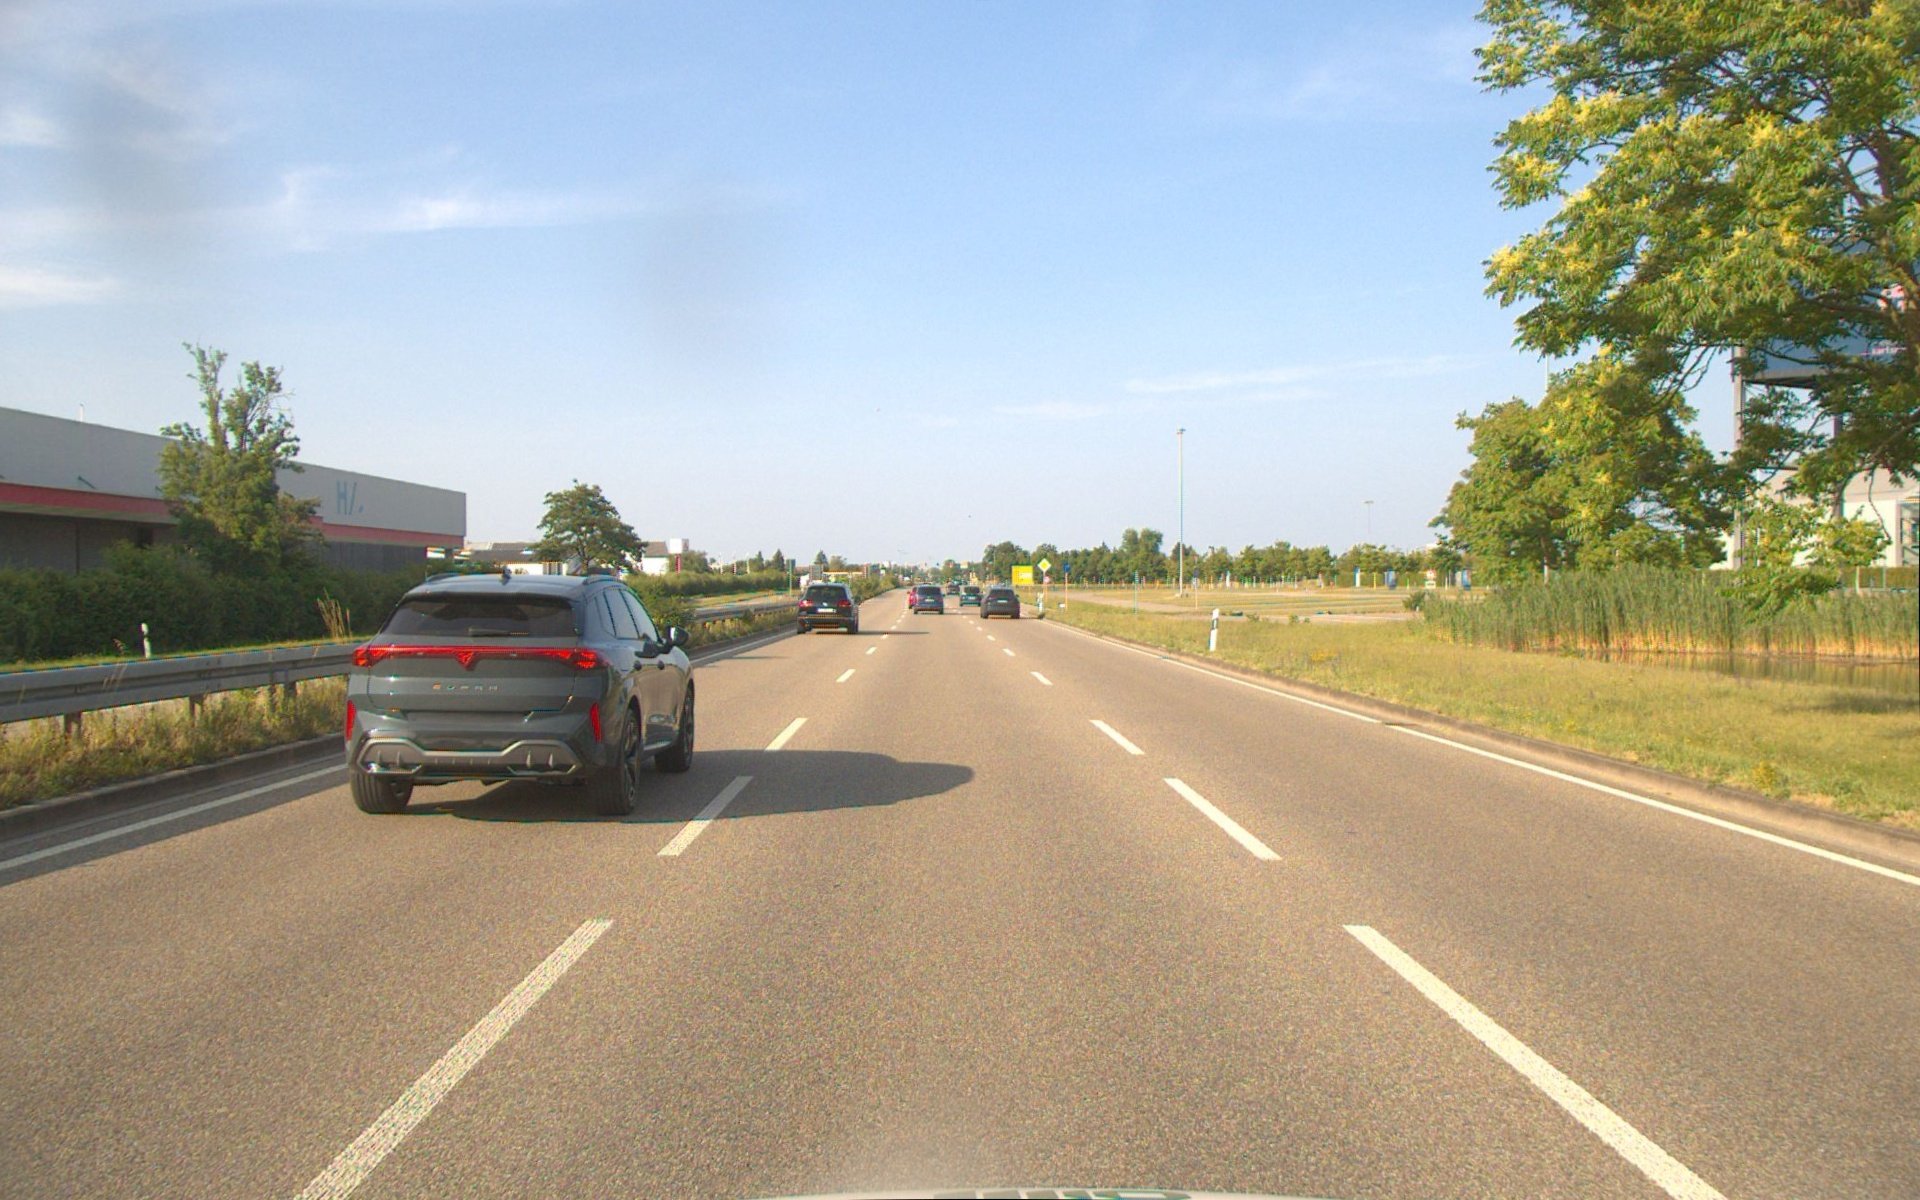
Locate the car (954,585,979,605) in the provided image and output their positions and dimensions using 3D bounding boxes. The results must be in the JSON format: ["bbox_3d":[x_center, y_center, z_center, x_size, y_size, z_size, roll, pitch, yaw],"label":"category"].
[{"bbox_3d":[0.505,-0.440,132.035,1.835,1.488,3.980,2,1,-1],"label":"car"}]

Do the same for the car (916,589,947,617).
[{"bbox_3d":[-1.672,0.154,97.311,1.776,1.488,4.400,2,1,-1],"label":"car"}]

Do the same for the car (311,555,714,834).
[{"bbox_3d":[-3.046,0.547,12.258,1.808,1.640,4.400,2,1,-1],"label":"car"}]

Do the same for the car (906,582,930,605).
[{"bbox_3d":[-2.955,-0.478,117.196,1.614,1.488,3.980,2,1,-1],"label":"car"}]

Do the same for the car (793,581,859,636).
[{"bbox_3d":[-4.487,0.257,55.809,1.893,1.709,4.400,2,1,-1],"label":"car"}]

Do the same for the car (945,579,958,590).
[{"bbox_3d":[-1.085,-1.941,205.755,1.472,1.336,3.155,2,1,-1],"label":"car"}]

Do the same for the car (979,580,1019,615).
[{"bbox_3d":[2.047,-0.170,87.281,1.893,1.709,4.400,2,1,-1],"label":"car"}]
